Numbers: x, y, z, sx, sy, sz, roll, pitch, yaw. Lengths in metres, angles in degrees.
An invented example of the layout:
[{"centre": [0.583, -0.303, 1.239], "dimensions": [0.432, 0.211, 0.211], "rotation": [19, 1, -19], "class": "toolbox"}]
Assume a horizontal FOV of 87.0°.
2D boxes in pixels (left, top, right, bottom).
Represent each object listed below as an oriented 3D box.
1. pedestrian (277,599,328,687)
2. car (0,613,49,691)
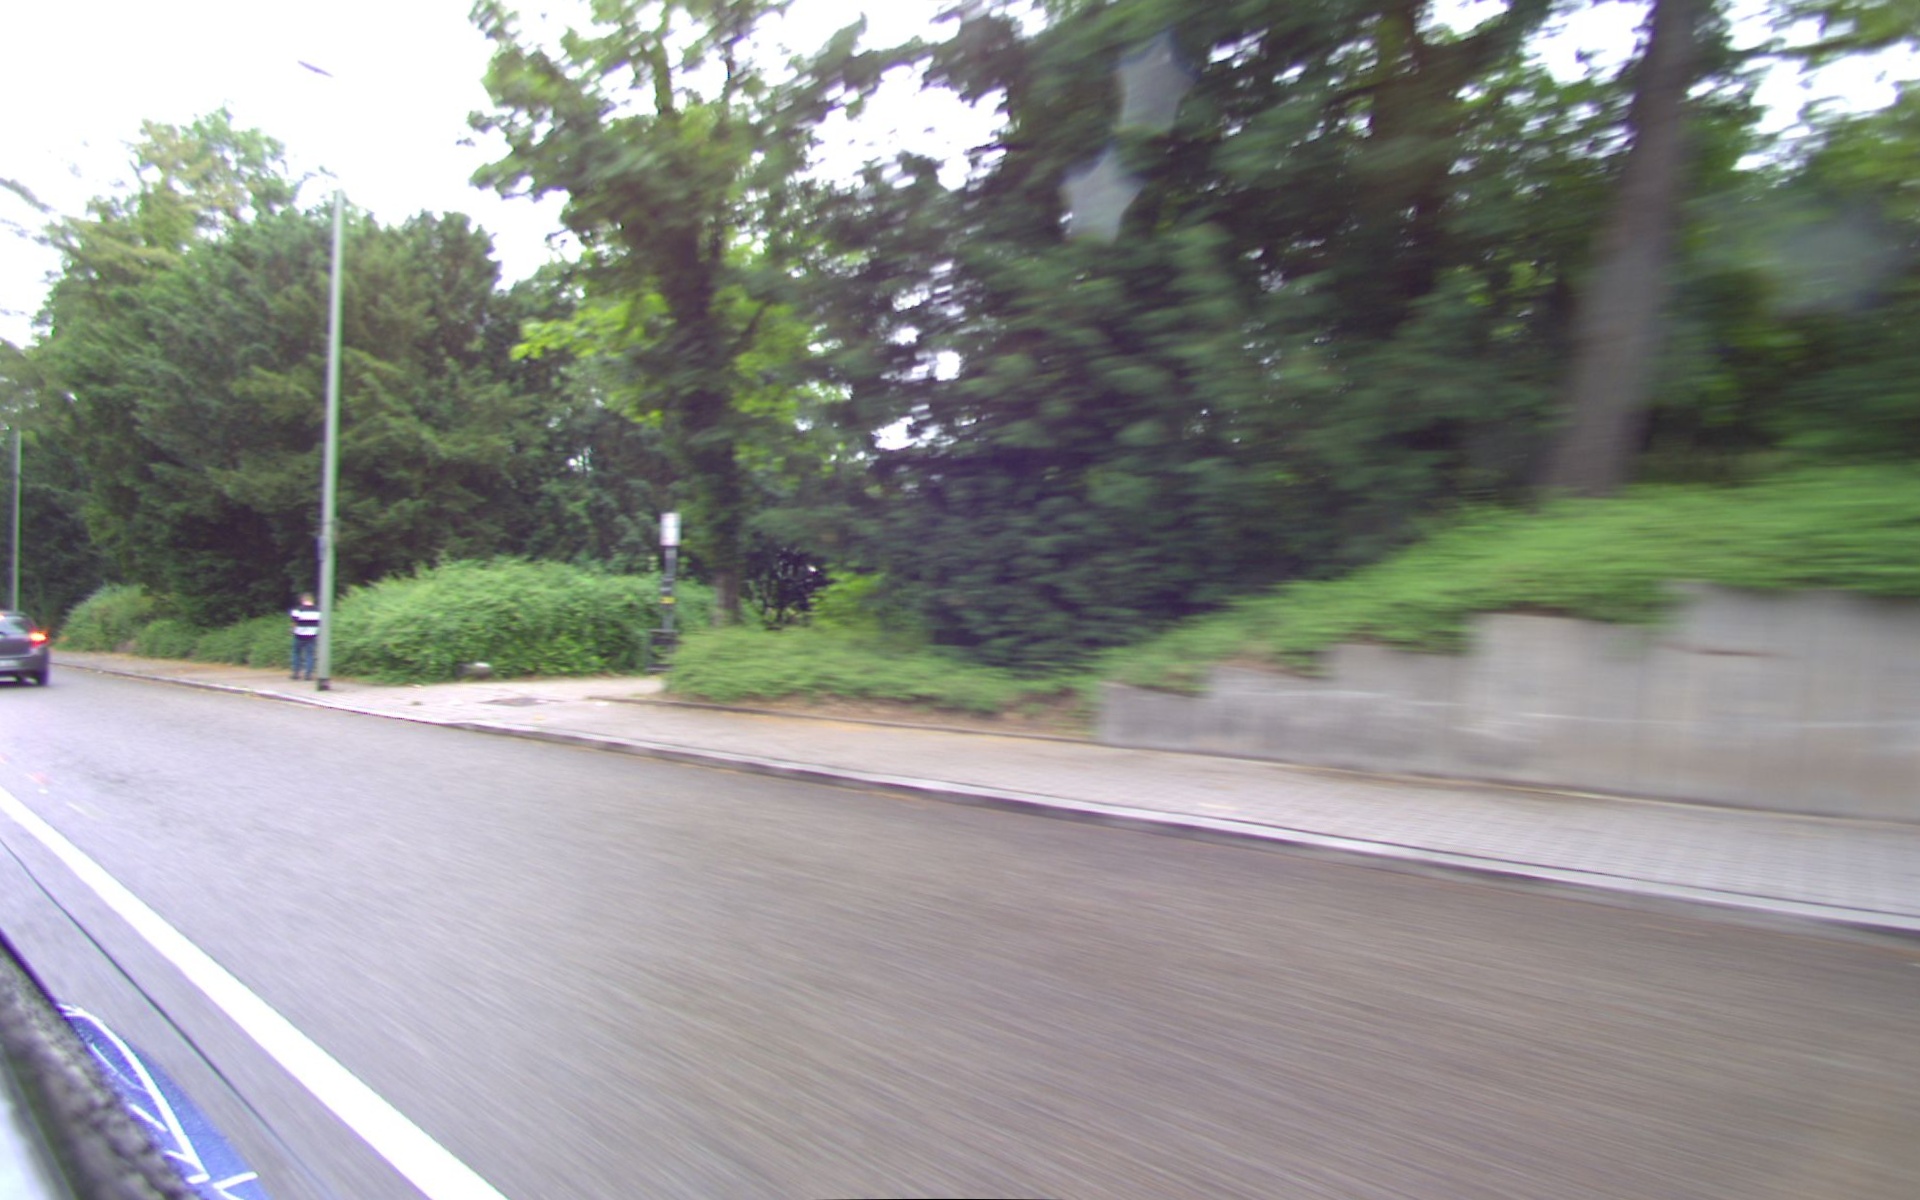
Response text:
[{"centre": [-12.758, 0.819, 19.631], "dimensions": [0.697, 1.656, 0.714], "rotation": [1, -1, -44], "class": "pedestrian"}, {"centre": [-19.843, 1.020, 20.428], "dimensions": [3.457, 1.507, 1.658], "rotation": [-1, -1, 39], "class": "car"}]
